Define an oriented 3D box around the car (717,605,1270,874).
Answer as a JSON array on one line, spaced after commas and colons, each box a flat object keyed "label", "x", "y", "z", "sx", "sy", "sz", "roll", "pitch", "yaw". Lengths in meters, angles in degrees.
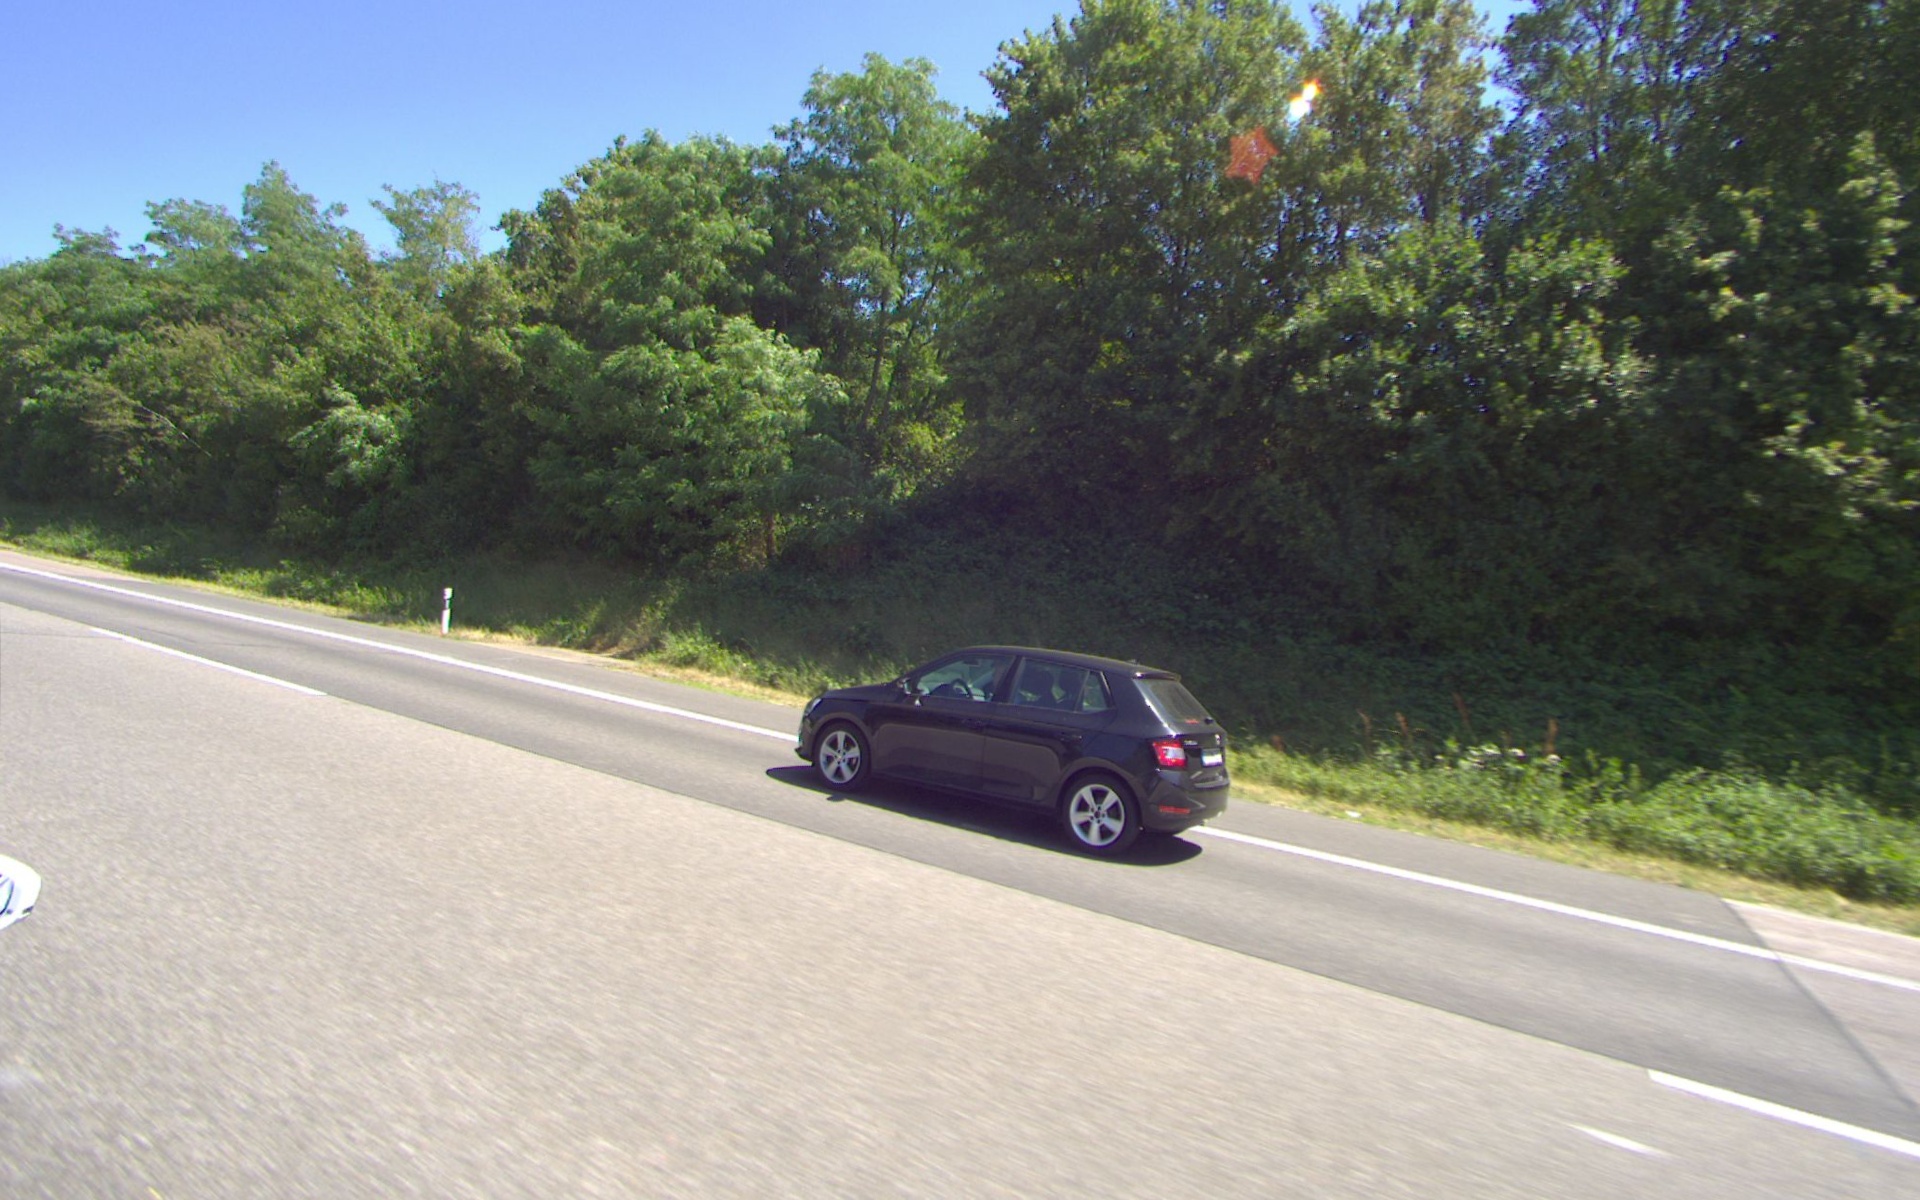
[{"label": "car", "x": 0.172, "y": 1.053, "z": 8.836, "sx": 4.498, "sy": 1.464, "sz": 1.673, "roll": 6, "pitch": -2, "yaw": 32}]
